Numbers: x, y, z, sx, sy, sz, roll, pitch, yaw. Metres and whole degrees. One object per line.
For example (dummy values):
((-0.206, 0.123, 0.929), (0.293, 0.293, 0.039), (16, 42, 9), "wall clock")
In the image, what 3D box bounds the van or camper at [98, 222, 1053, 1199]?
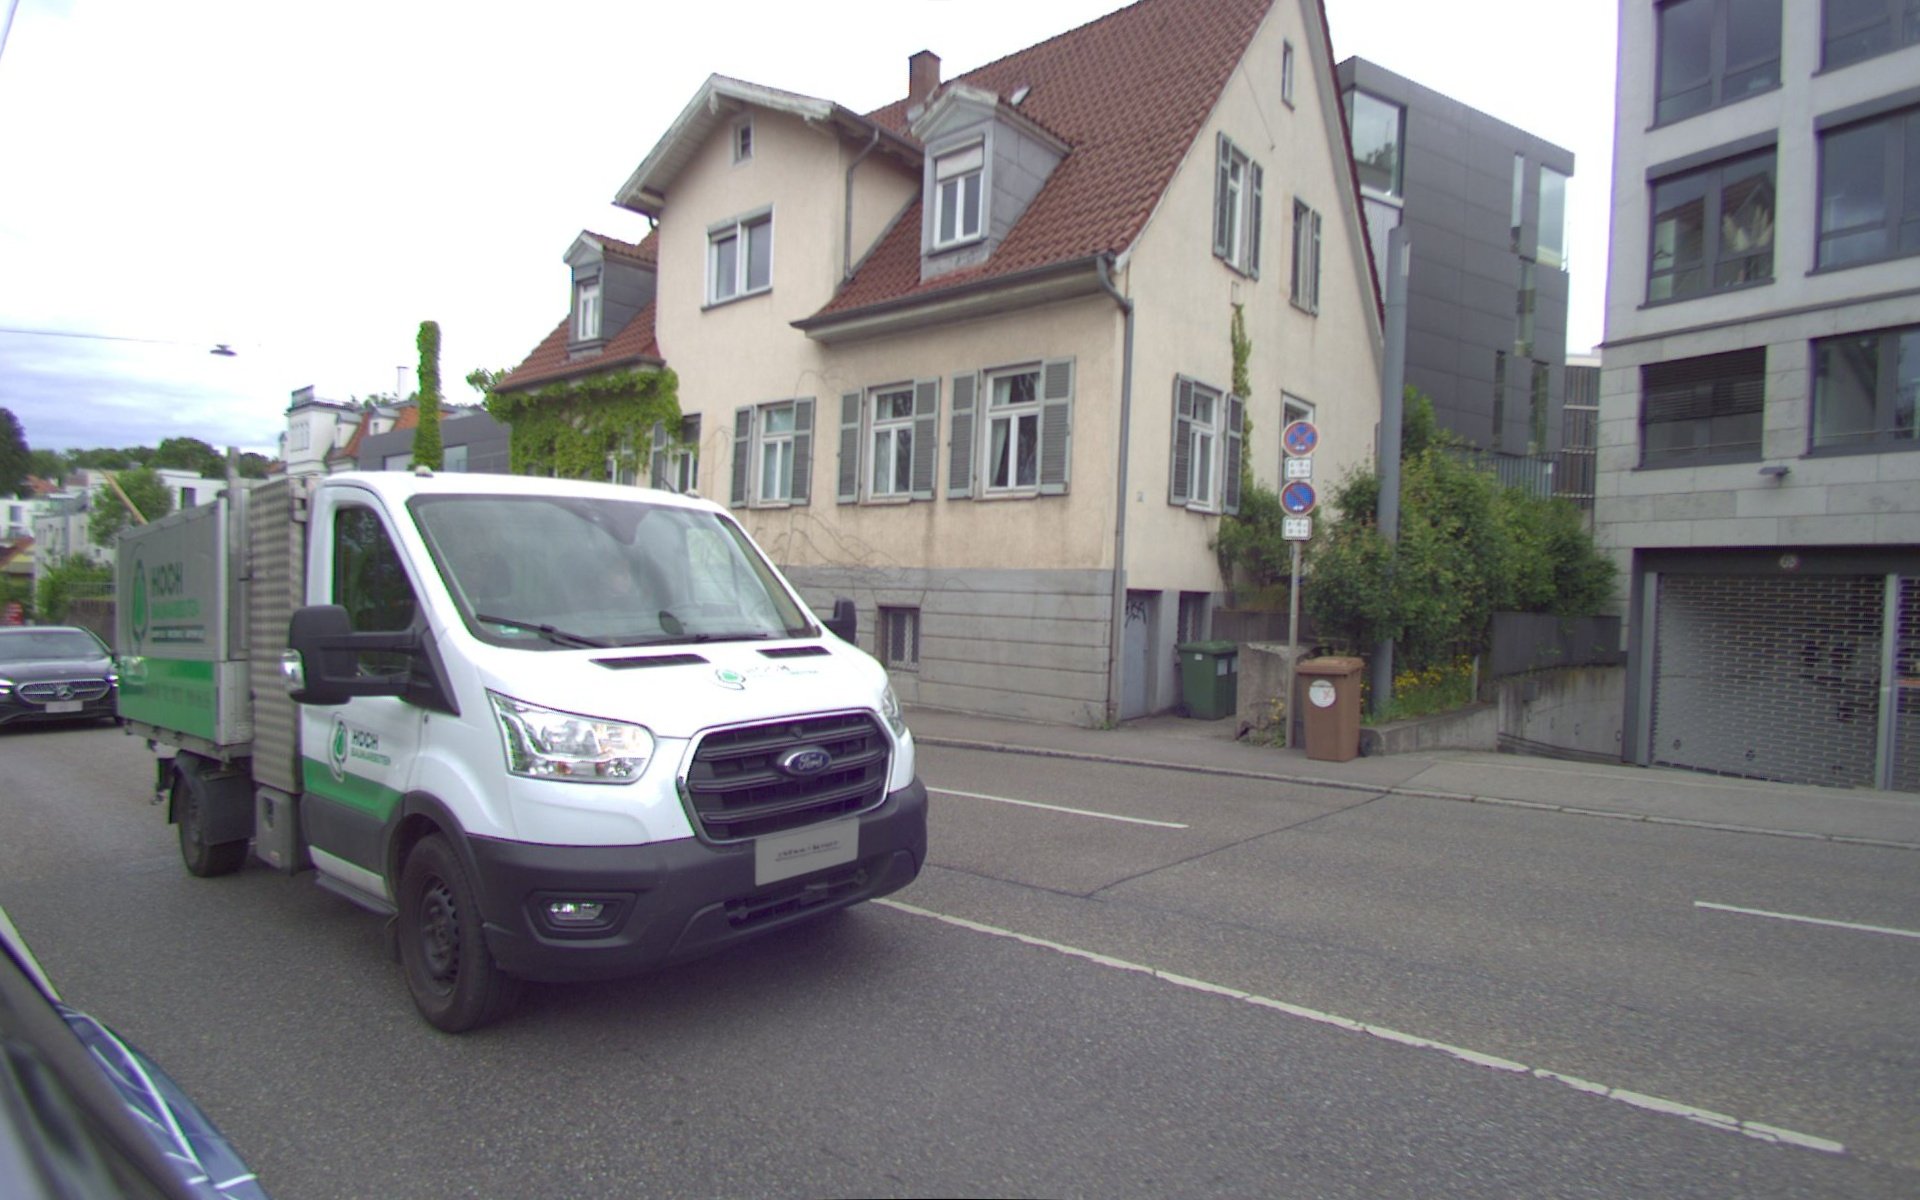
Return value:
((-2.591, 0.291, 5.512), (5.962, 2.682, 2.319), (1, 2, 41), "van or camper")

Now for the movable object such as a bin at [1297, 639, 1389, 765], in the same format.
((4.034, 1.041, 10.636), (0.697, 1.198, 0.803), (-2, 2, 35), "movable object such as a bin")

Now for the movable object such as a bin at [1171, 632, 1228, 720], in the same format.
((3.411, 1.065, 14.415), (0.603, 1.198, 0.572), (-2, 0, 35), "movable object such as a bin")

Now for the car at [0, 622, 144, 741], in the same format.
((-13.898, 1.125, 15.195), (4.333, 1.541, 1.854), (-2, -1, 41), "car")
